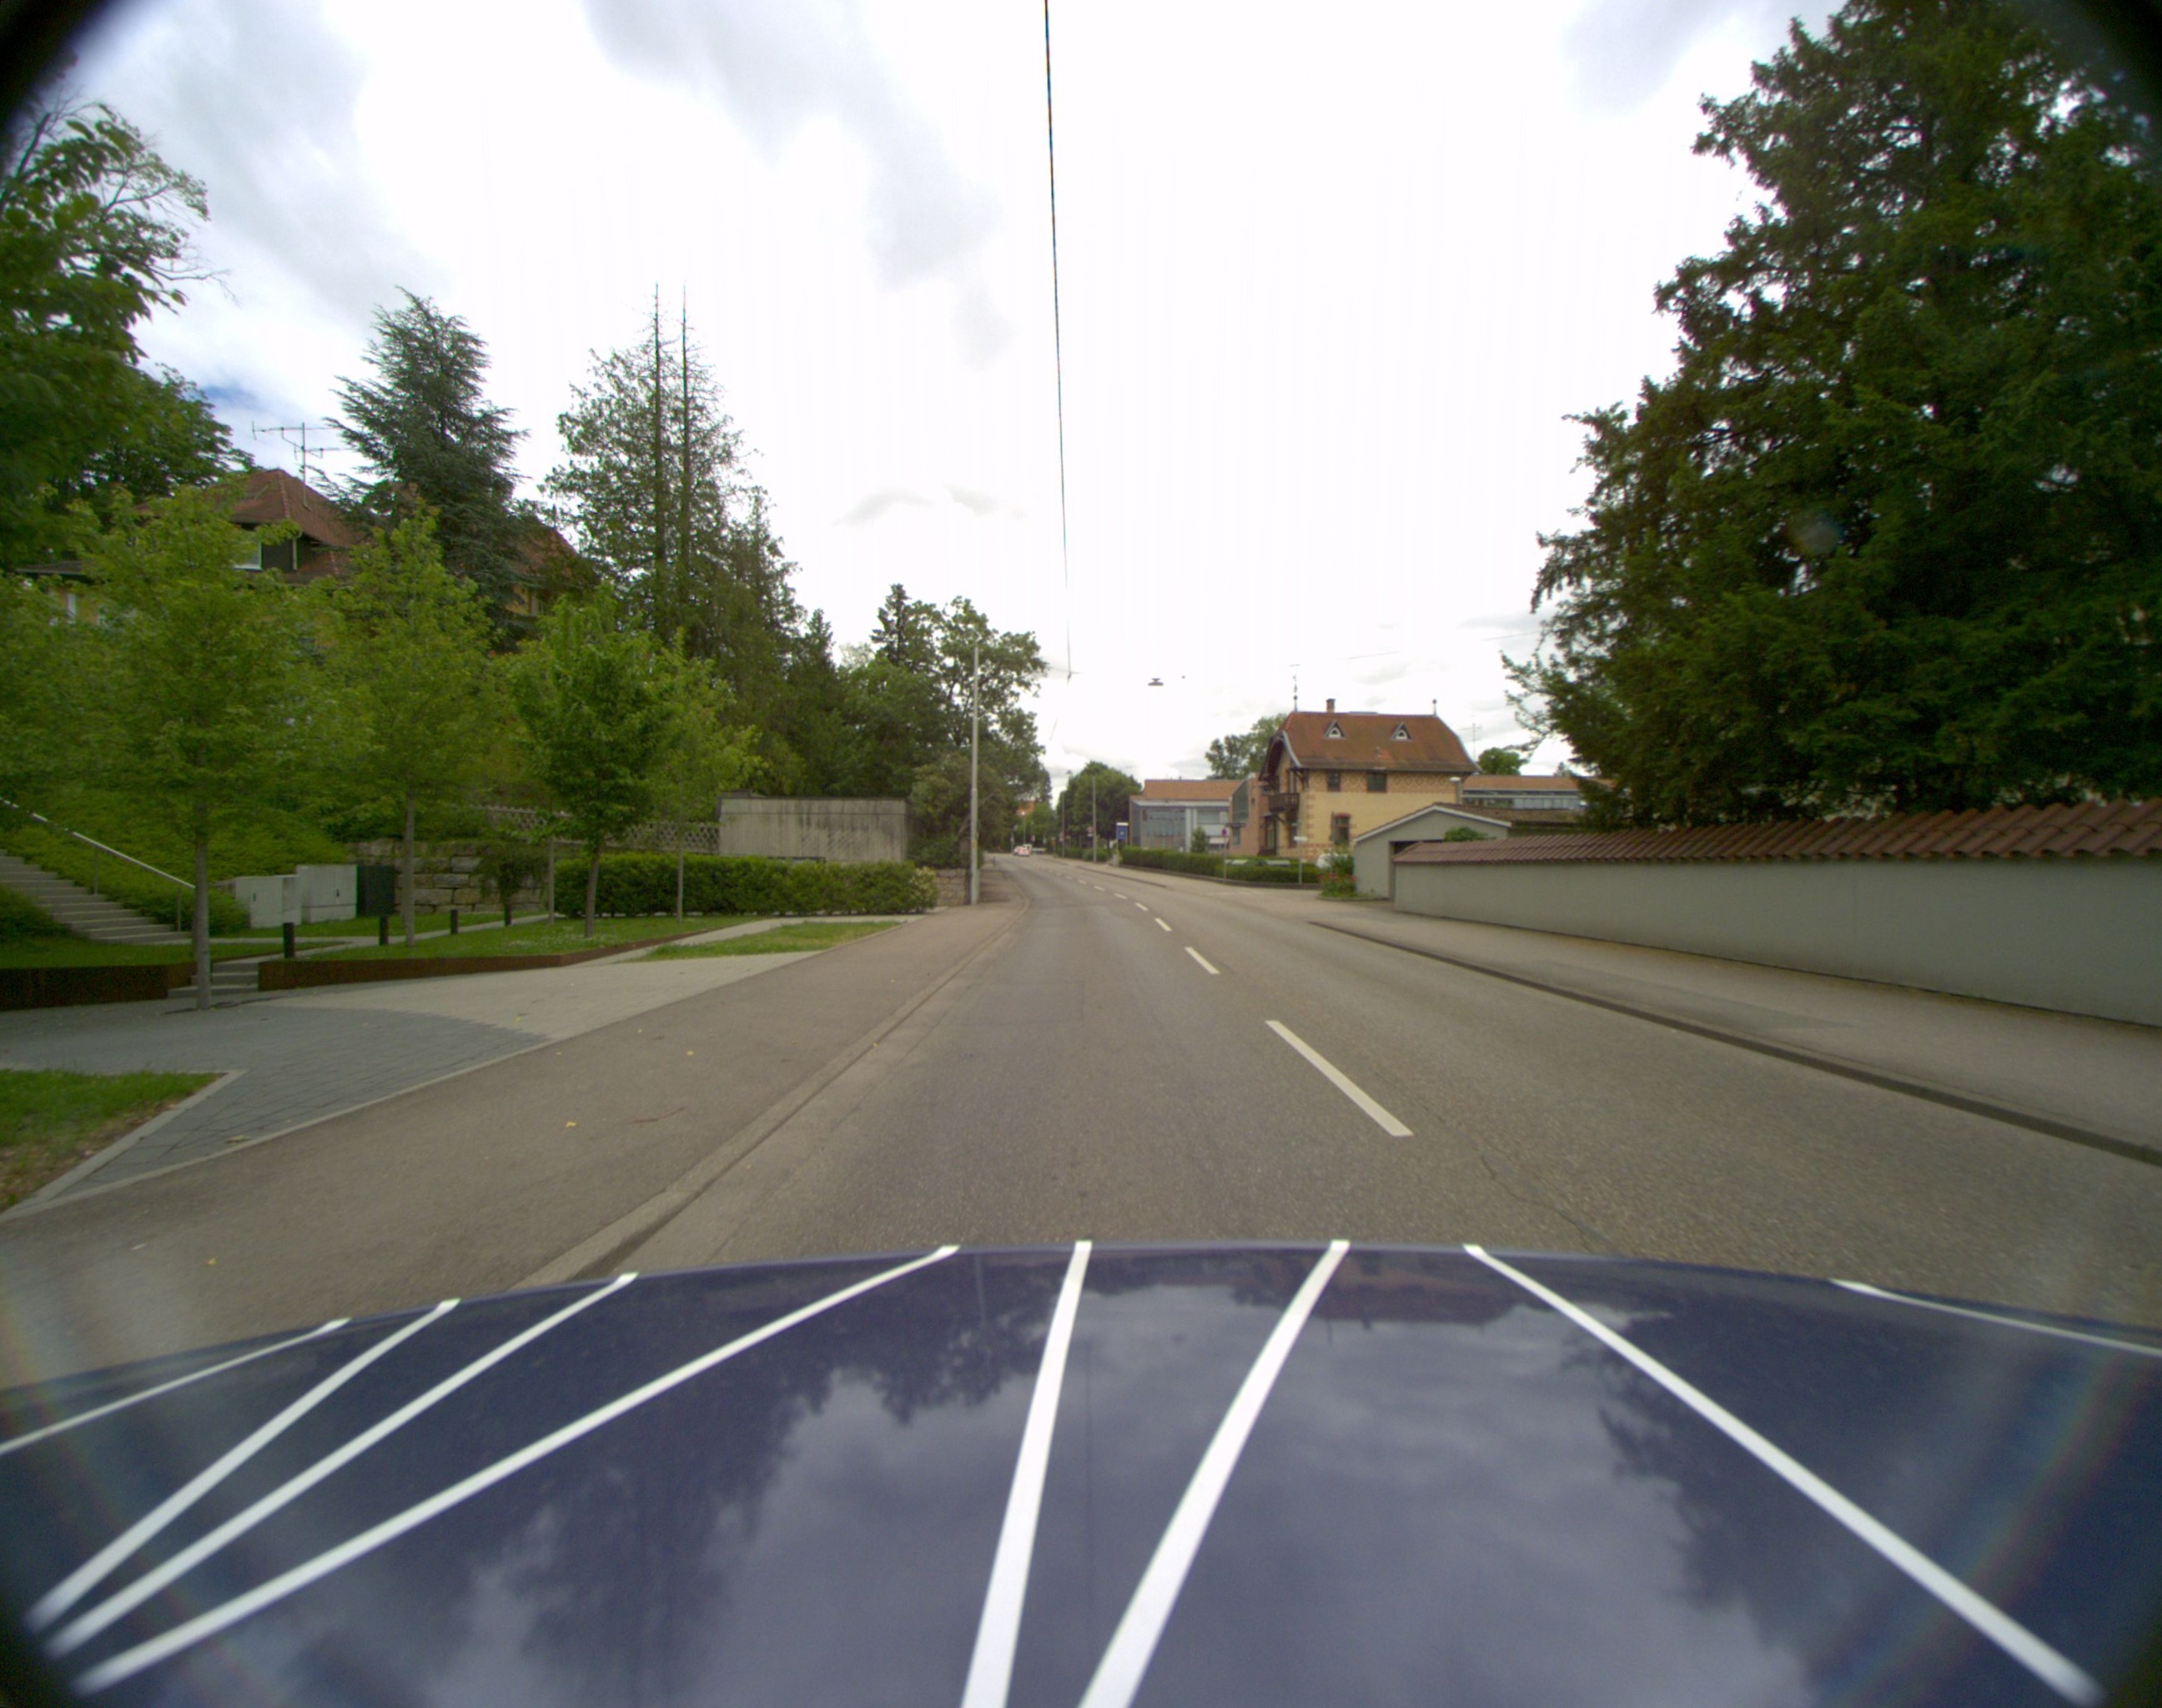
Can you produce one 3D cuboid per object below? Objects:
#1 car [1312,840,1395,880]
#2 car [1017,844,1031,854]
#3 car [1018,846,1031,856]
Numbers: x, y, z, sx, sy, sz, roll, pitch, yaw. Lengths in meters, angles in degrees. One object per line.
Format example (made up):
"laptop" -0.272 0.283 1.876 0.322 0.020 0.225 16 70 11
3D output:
"car" 14.919 0.299 41.924 1.896 2.058 4.608 -1 1 -18
"car" -10.312 -0.900 138.034 2.001 1.701 3.995 -1 1 -12
"car" -9.759 -0.498 131.064 2.000 1.701 3.997 -1 1 -7
